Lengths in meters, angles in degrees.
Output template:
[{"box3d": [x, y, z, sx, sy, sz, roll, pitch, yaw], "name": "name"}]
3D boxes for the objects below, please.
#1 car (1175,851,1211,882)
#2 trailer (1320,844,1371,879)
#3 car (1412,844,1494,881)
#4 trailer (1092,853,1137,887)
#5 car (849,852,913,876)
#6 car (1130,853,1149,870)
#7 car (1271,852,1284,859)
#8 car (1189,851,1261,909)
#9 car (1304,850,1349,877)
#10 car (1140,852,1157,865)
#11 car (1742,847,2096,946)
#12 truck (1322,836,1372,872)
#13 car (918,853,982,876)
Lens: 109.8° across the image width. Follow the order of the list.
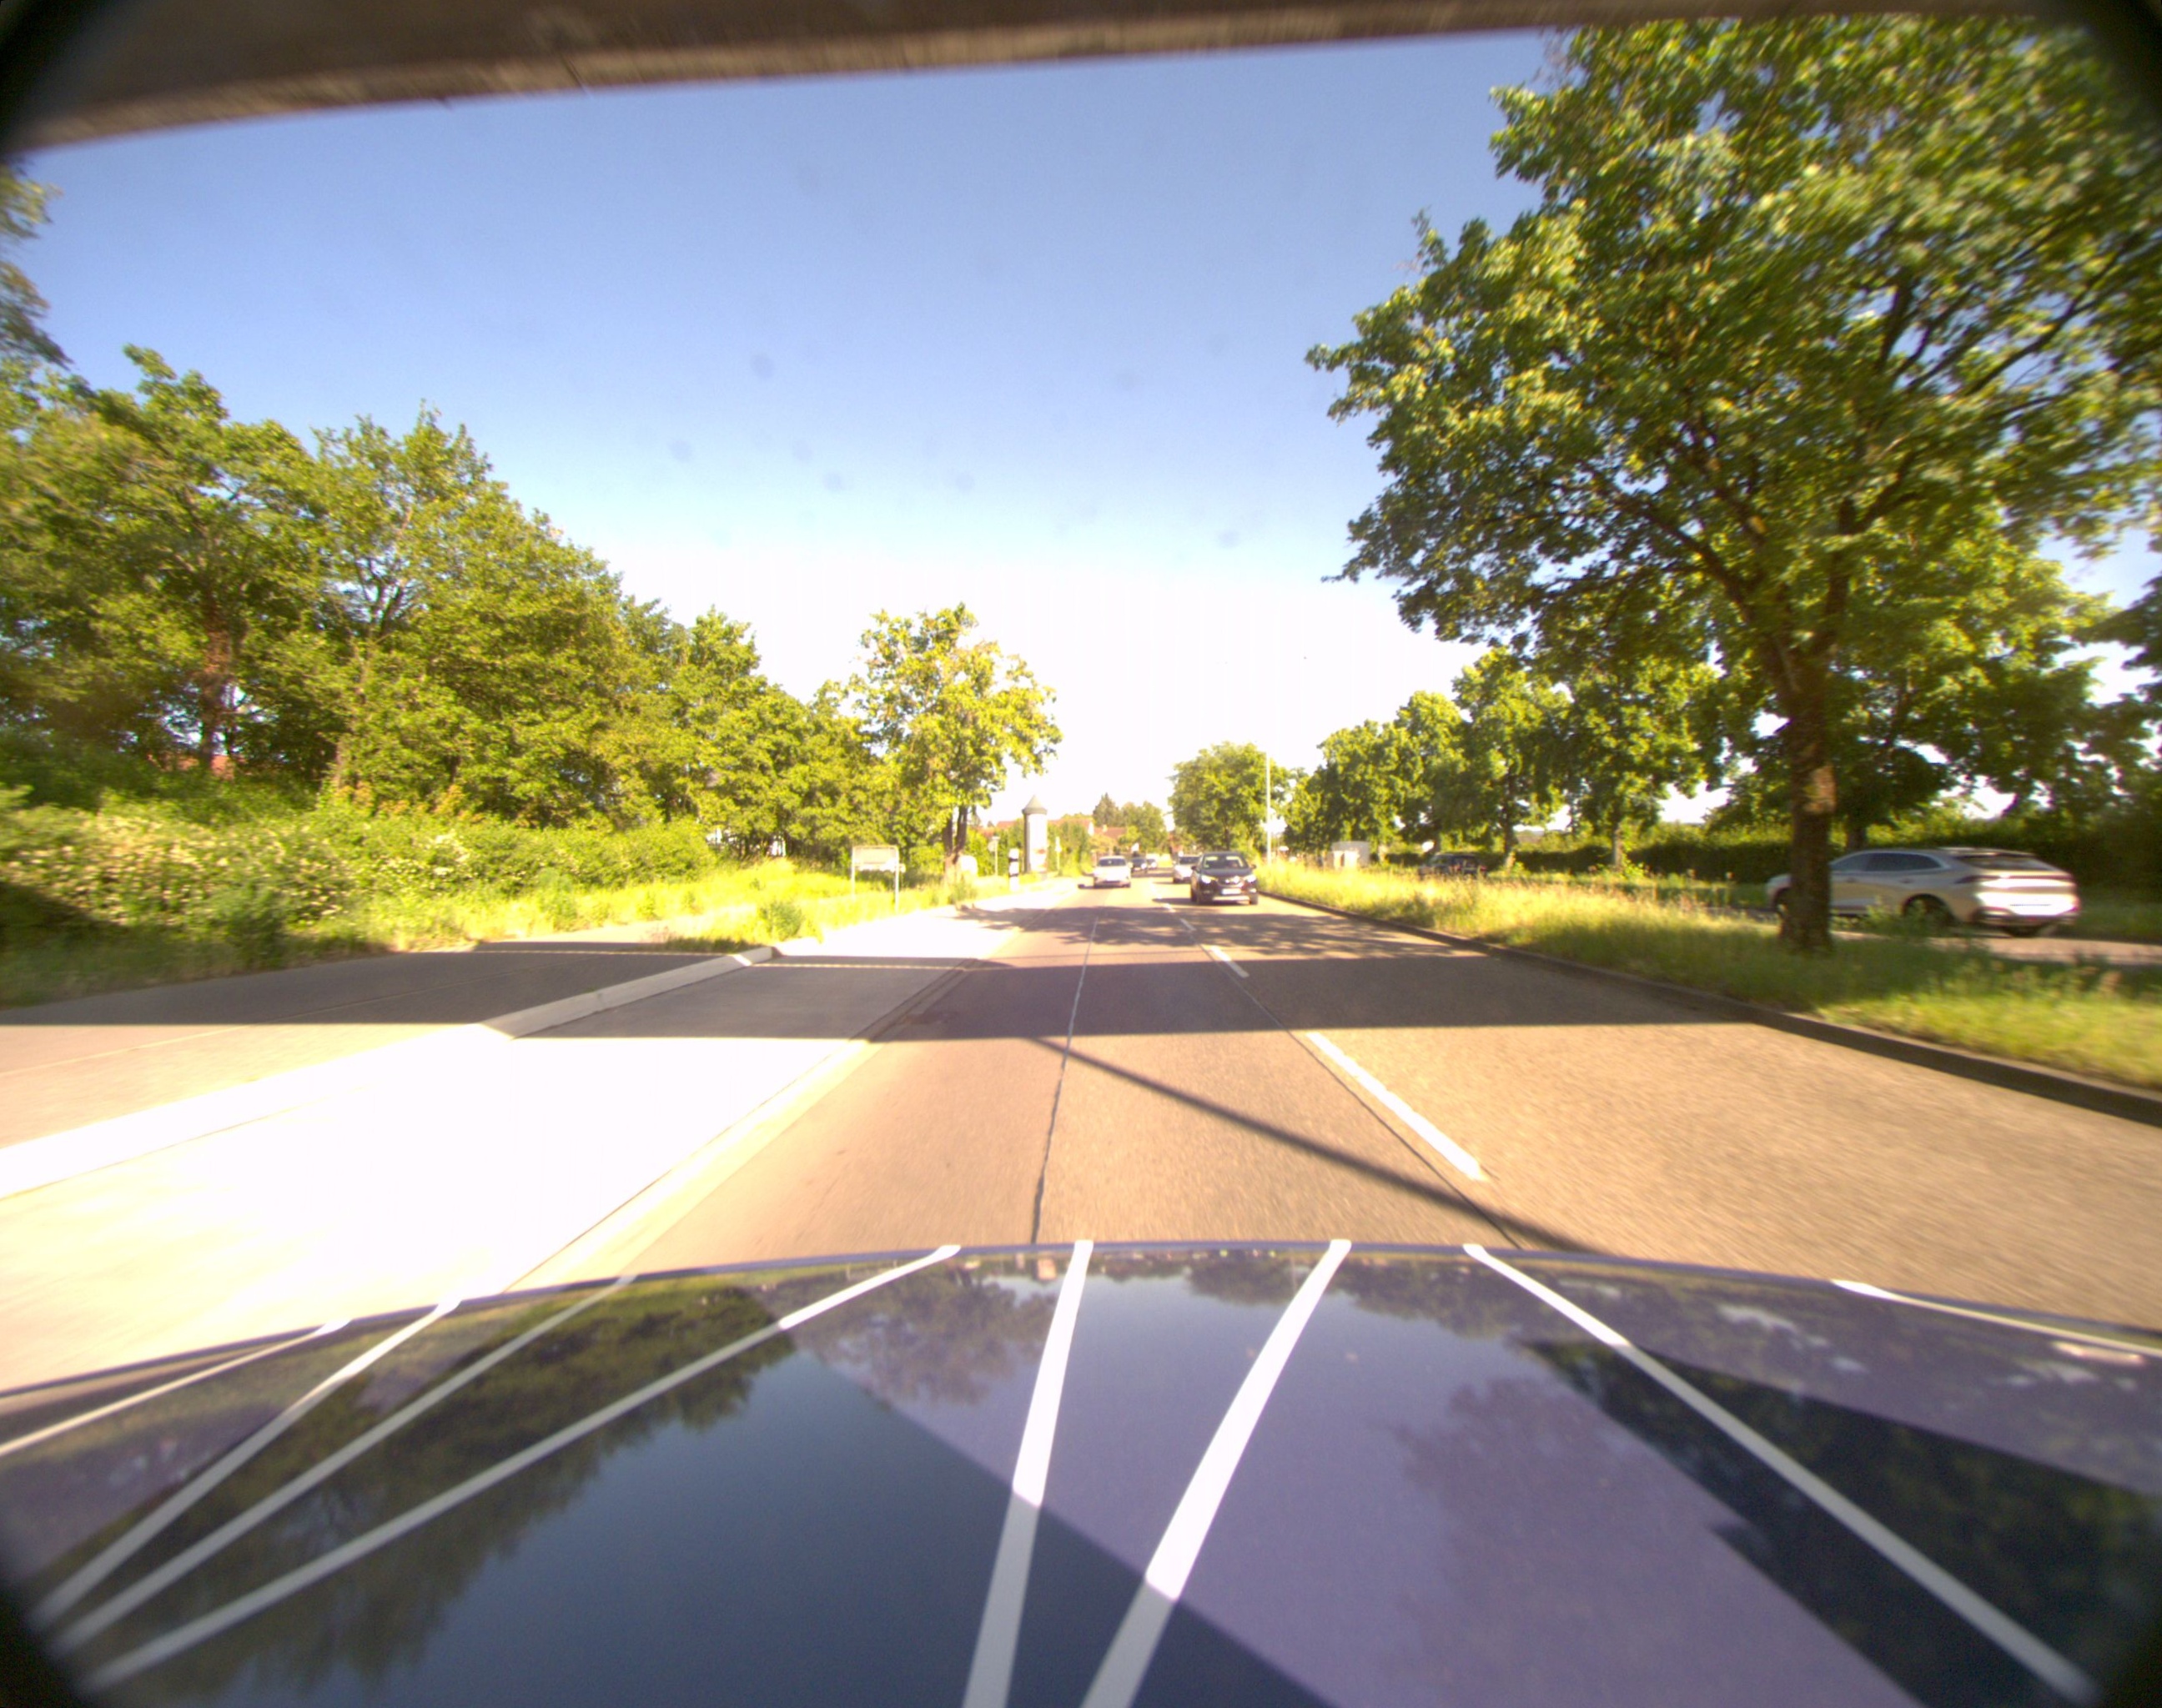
[{"box3d": [6.121, 0.660, 42.015, 1.822, 1.553, 4.649, -1, 0, 7], "name": "car"}, {"box3d": [15.130, 0.388, 43.719, 1.566, 1.899, 4.283, -1, 0, 2], "name": "trailer"}, {"box3d": [17.248, 0.384, 35.473, 1.754, 1.610, 4.579, -1, 0, 2], "name": "car"}, {"box3d": [1.745, 0.790, 38.843, 1.896, 1.585, 4.003, -2, -1, 7], "name": "trailer"}, {"box3d": [-16.133, 0.850, 61.243, 4.525, 1.857, 2.073, -1, -1, 9], "name": "car"}, {"box3d": [5.781, 0.730, 75.288, 1.823, 1.553, 4.273, -1, 1, 4], "name": "car"}, {"box3d": [43.756, 0.363, 168.805, 1.693, 1.428, 4.950, 1, 1, 28], "name": "car"}, {"box3d": [4.429, 0.741, 24.012, 1.810, 1.605, 4.516, -1, 1, 5], "name": "car"}, {"box3d": [15.382, 0.546, 47.754, 1.699, 1.573, 4.025, -1, 0, 3], "name": "car"}, {"box3d": [8.567, 0.543, 96.604, 1.822, 1.587, 4.275, -2, 0, 9], "name": "car"}, {"box3d": [16.263, 0.710, 15.268, 1.736, 1.637, 4.900, 1, 0, 1], "name": "car"}, {"box3d": [19.524, 0.019, 56.100, 2.176, 2.498, 5.745, 1, 0, 7], "name": "truck"}, {"box3d": [-10.400, 0.843, 60.465, 4.639, 1.790, 1.934, -1, -1, 9], "name": "car"}]
